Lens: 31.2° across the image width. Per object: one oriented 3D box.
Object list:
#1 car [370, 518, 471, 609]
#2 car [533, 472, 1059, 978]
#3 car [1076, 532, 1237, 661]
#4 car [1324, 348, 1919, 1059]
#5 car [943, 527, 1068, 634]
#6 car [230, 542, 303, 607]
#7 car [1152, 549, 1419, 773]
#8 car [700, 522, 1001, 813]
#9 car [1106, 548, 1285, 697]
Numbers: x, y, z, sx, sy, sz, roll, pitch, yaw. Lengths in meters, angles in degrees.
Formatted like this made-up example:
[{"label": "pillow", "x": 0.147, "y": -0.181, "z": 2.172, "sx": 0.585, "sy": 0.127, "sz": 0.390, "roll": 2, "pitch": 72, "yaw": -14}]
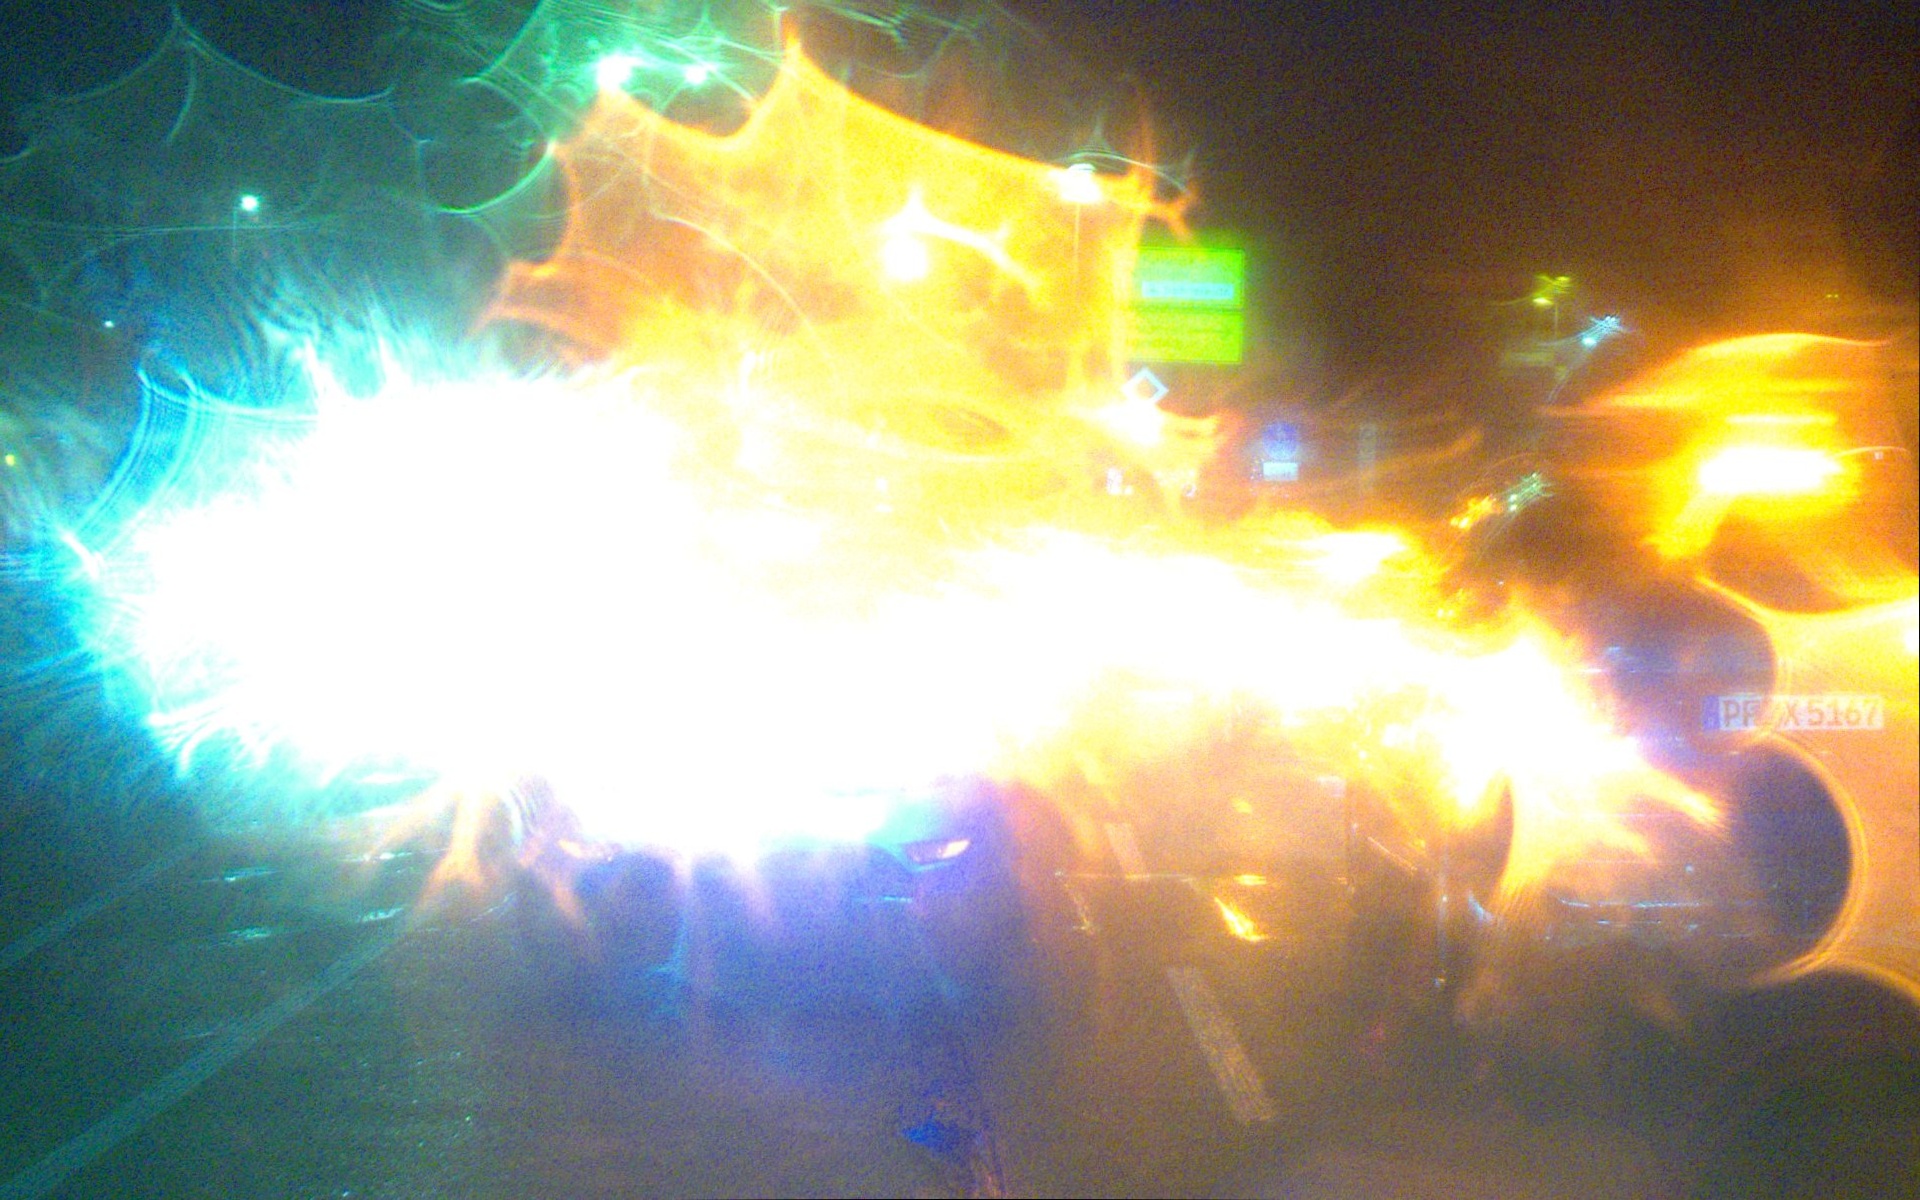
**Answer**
[{"label": "car", "x": -11.614, "y": -0.818, "z": 74.226, "sx": 1.993, "sy": 1.905, "sz": 4.744, "roll": 0, "pitch": 1, "yaw": -7}, {"label": "car", "x": -0.546, "y": 0.383, "z": 13.146, "sx": 1.694, "sy": 1.624, "sz": 3.853, "roll": 1, "pitch": 1, "yaw": 0}, {"label": "car", "x": 2.335, "y": -0.076, "z": 41.730, "sx": 1.663, "sy": 1.445, "sz": 4.050, "roll": 0, "pitch": 2, "yaw": -1}, {"label": "car", "x": 2.381, "y": 0.233, "z": 11.645, "sx": 1.942, "sy": 1.965, "sz": 4.218, "roll": 1, "pitch": 2, "yaw": 2}, {"label": "car", "x": 0.613, "y": -0.281, "z": 48.865, "sx": 1.663, "sy": 1.445, "sz": 4.050, "roll": 0, "pitch": 1, "yaw": -1}, {"label": "car", "x": -21.037, "y": -0.795, "z": 104.219, "sx": 1.993, "sy": 1.886, "sz": 4.744, "roll": 0, "pitch": 1, "yaw": -14}, {"label": "car", "x": 2.313, "y": 0.377, "z": 25.292, "sx": 1.768, "sy": 1.445, "sz": 4.218, "roll": 1, "pitch": 2, "yaw": 3}, {"label": "car", "x": -0.628, "y": 0.350, "z": 21.700, "sx": 1.708, "sy": 1.632, "sz": 3.731, "roll": -1, "pitch": 2, "yaw": 0}, {"label": "car", "x": 2.364, "y": 0.197, "z": 35.244, "sx": 1.663, "sy": 1.445, "sz": 4.050, "roll": 0, "pitch": 1, "yaw": 2}]
